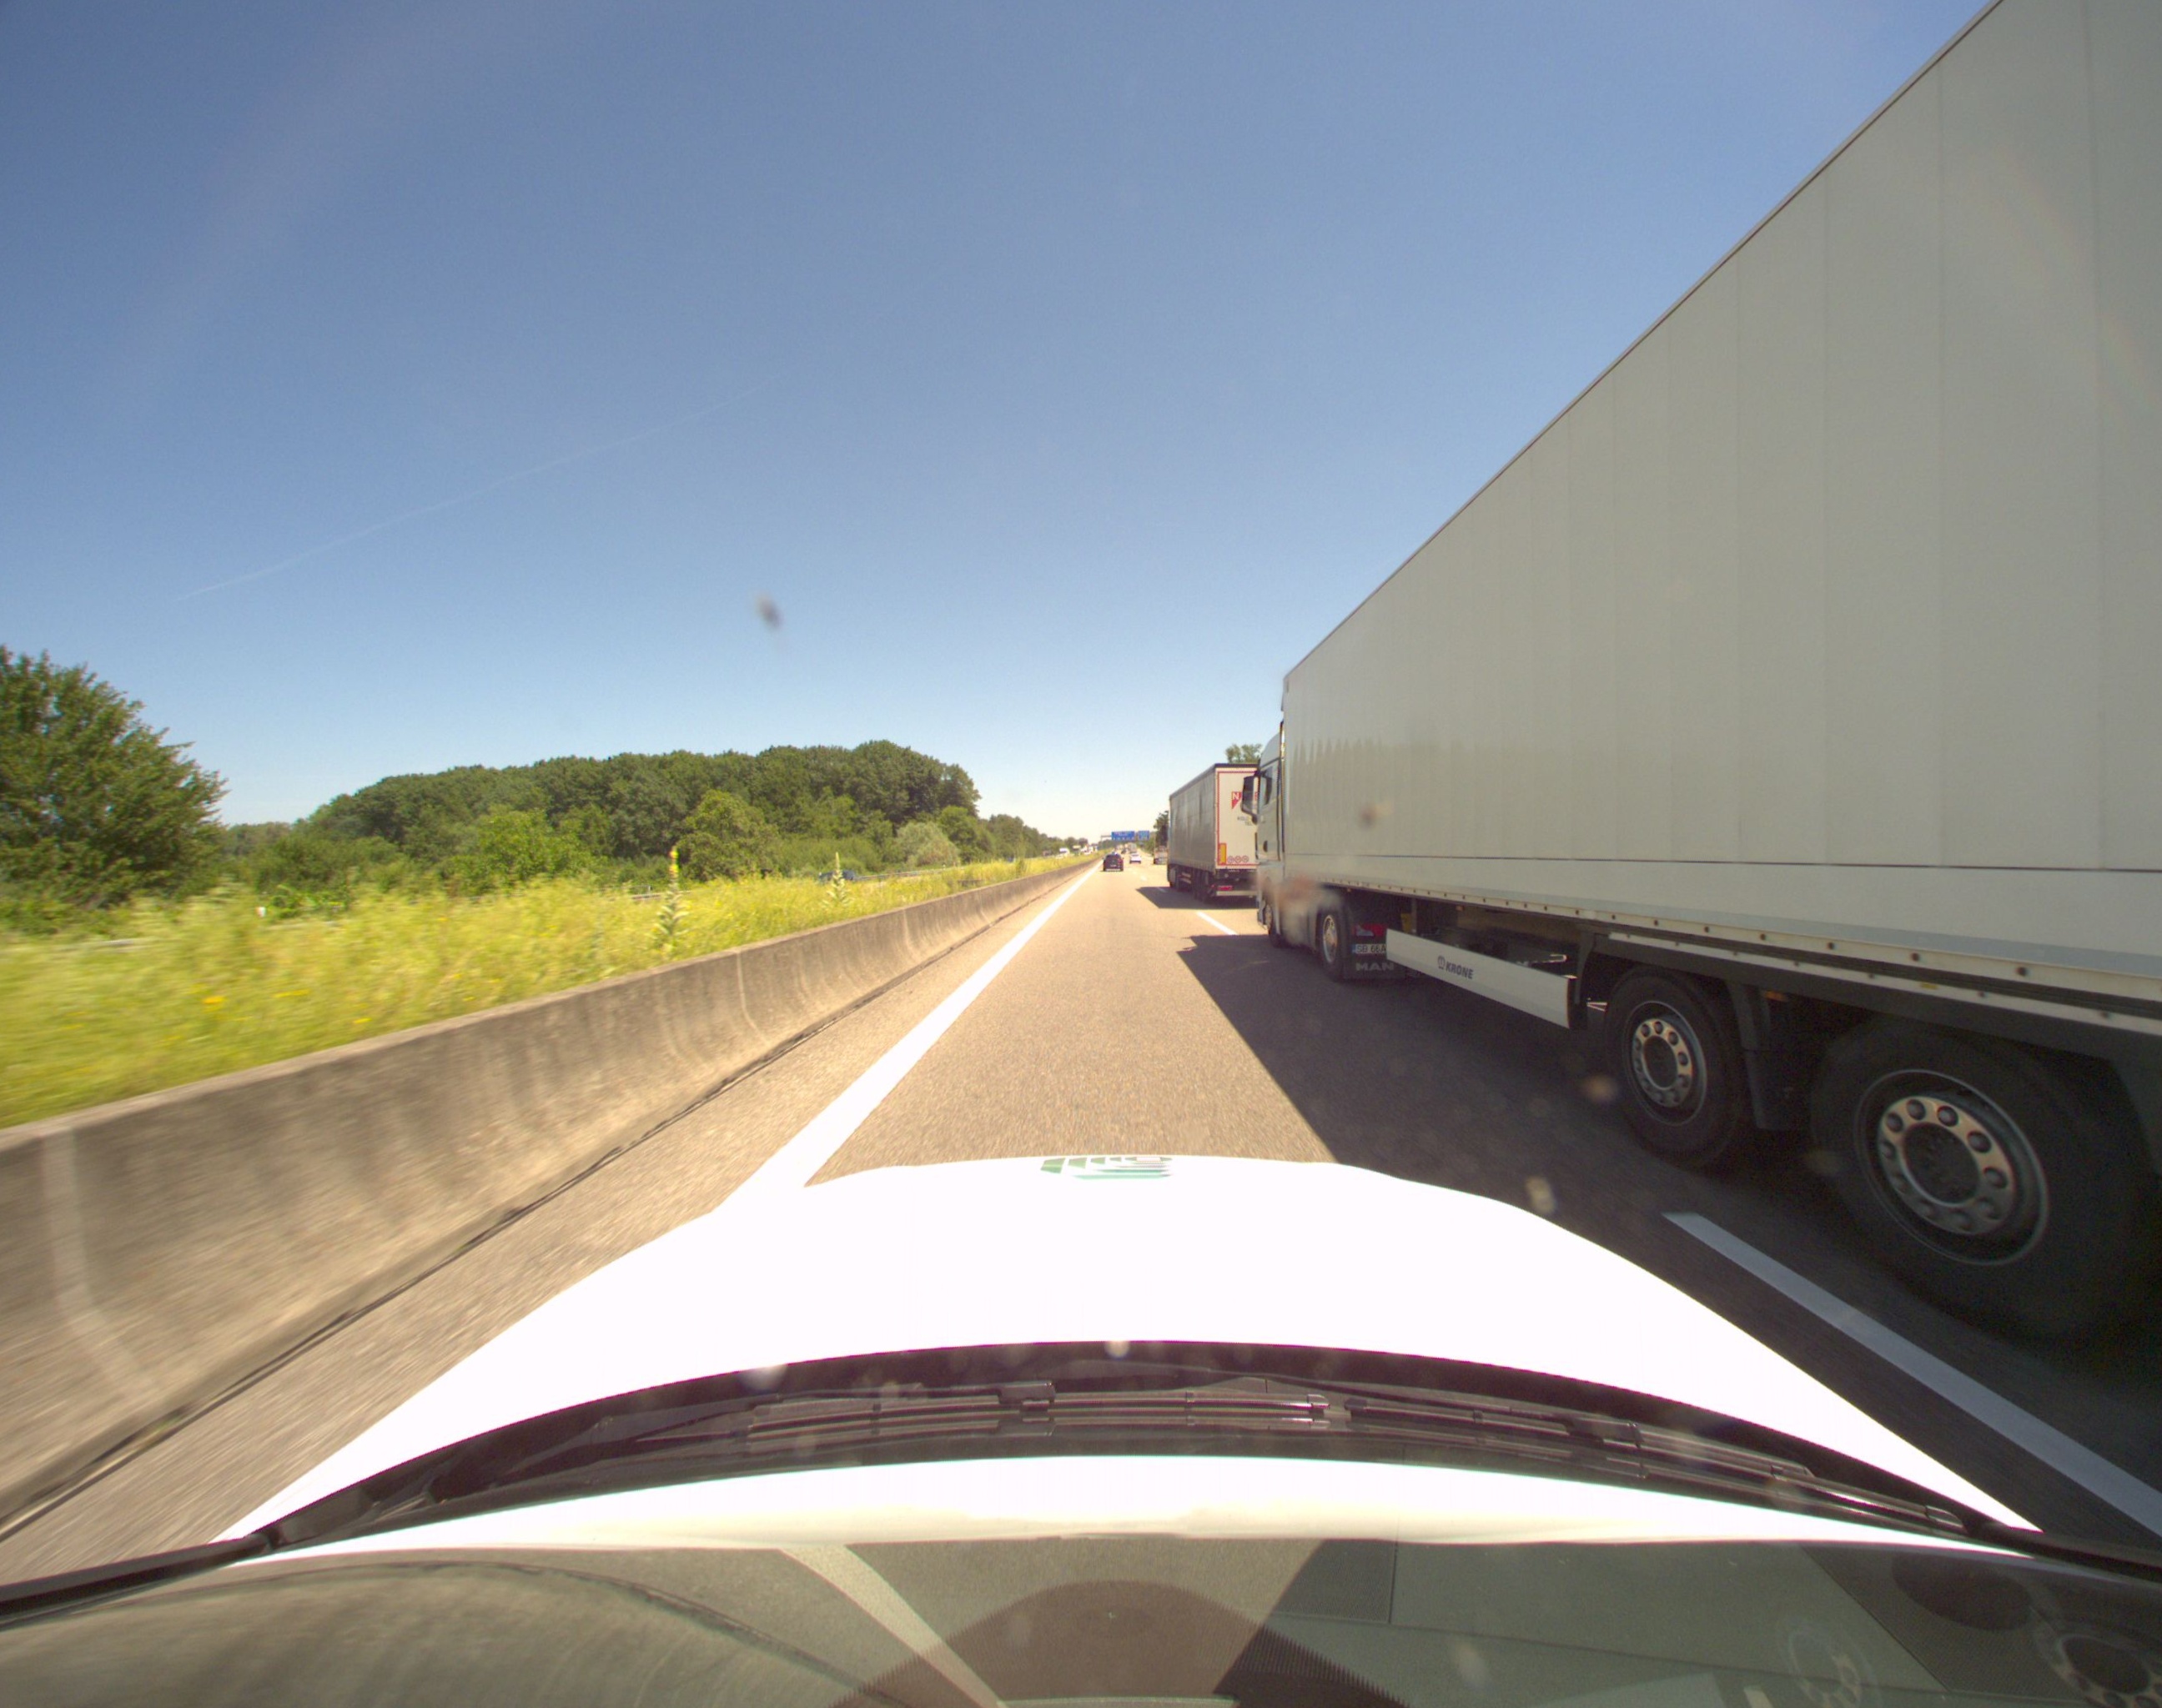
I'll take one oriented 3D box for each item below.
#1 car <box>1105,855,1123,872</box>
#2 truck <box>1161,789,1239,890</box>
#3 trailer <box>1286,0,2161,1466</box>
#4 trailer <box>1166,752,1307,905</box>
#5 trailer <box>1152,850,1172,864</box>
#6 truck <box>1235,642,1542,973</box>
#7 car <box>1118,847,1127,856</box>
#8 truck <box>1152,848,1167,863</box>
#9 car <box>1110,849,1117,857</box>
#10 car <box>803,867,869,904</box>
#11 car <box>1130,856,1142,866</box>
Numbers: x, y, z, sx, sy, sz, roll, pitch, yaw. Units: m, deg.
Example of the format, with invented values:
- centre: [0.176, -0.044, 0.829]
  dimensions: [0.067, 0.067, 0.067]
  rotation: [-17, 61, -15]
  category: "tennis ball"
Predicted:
- centre: [3.185, 0.904, 79.415]
  dimensions: [1.654, 1.549, 3.784]
  rotation: [-1, 0, 1]
  category: "car"
- centre: [5.189, -0.552, 36.558]
  dimensions: [2.690, 4.094, 6.456]
  rotation: [-1, -1, 2]
  category: "truck"
- centre: [4.027, -0.586, 4.937]
  dimensions: [2.784, 4.035, 12.573]
  rotation: [-1, 0, 2]
  category: "trailer"
- centre: [4.938, -0.611, 29.199]
  dimensions: [2.697, 4.068, 14.752]
  rotation: [-1, -1, 2]
  category: "trailer"
- centre: [12.093, 0.409, 121.735]
  dimensions: [2.412, 2.013, 6.035]
  rotation: [-1, 0, 1]
  category: "trailer"
- centre: [4.327, -0.561, 12.992]
  dimensions: [2.789, 4.007, 6.024]
  rotation: [-1, 0, 2]
  category: "truck"
- centre: [9.764, -0.677, 191.814]
  dimensions: [1.986, 2.013, 4.002]
  rotation: [-2, 0, 2]
  category: "car"
- centre: [12.184, 0.208, 127.110]
  dimensions: [1.986, 2.373, 4.646]
  rotation: [-1, 0, 1]
  category: "truck"
- centre: [9.662, -0.316, 239.394]
  dimensions: [1.986, 2.013, 4.002]
  rotation: [-3, 0, 2]
  category: "car"
- centre: [-11.700, 1.477, 39.158]
  dimensions: [1.663, 1.464, 4.261]
  rotation: [-4, 0, 2]
  category: "car"
- centre: [8.897, 1.088, 132.109]
  dimensions: [1.733, 1.486, 4.002]
  rotation: [-1, 0, 2]
  category: "car"
